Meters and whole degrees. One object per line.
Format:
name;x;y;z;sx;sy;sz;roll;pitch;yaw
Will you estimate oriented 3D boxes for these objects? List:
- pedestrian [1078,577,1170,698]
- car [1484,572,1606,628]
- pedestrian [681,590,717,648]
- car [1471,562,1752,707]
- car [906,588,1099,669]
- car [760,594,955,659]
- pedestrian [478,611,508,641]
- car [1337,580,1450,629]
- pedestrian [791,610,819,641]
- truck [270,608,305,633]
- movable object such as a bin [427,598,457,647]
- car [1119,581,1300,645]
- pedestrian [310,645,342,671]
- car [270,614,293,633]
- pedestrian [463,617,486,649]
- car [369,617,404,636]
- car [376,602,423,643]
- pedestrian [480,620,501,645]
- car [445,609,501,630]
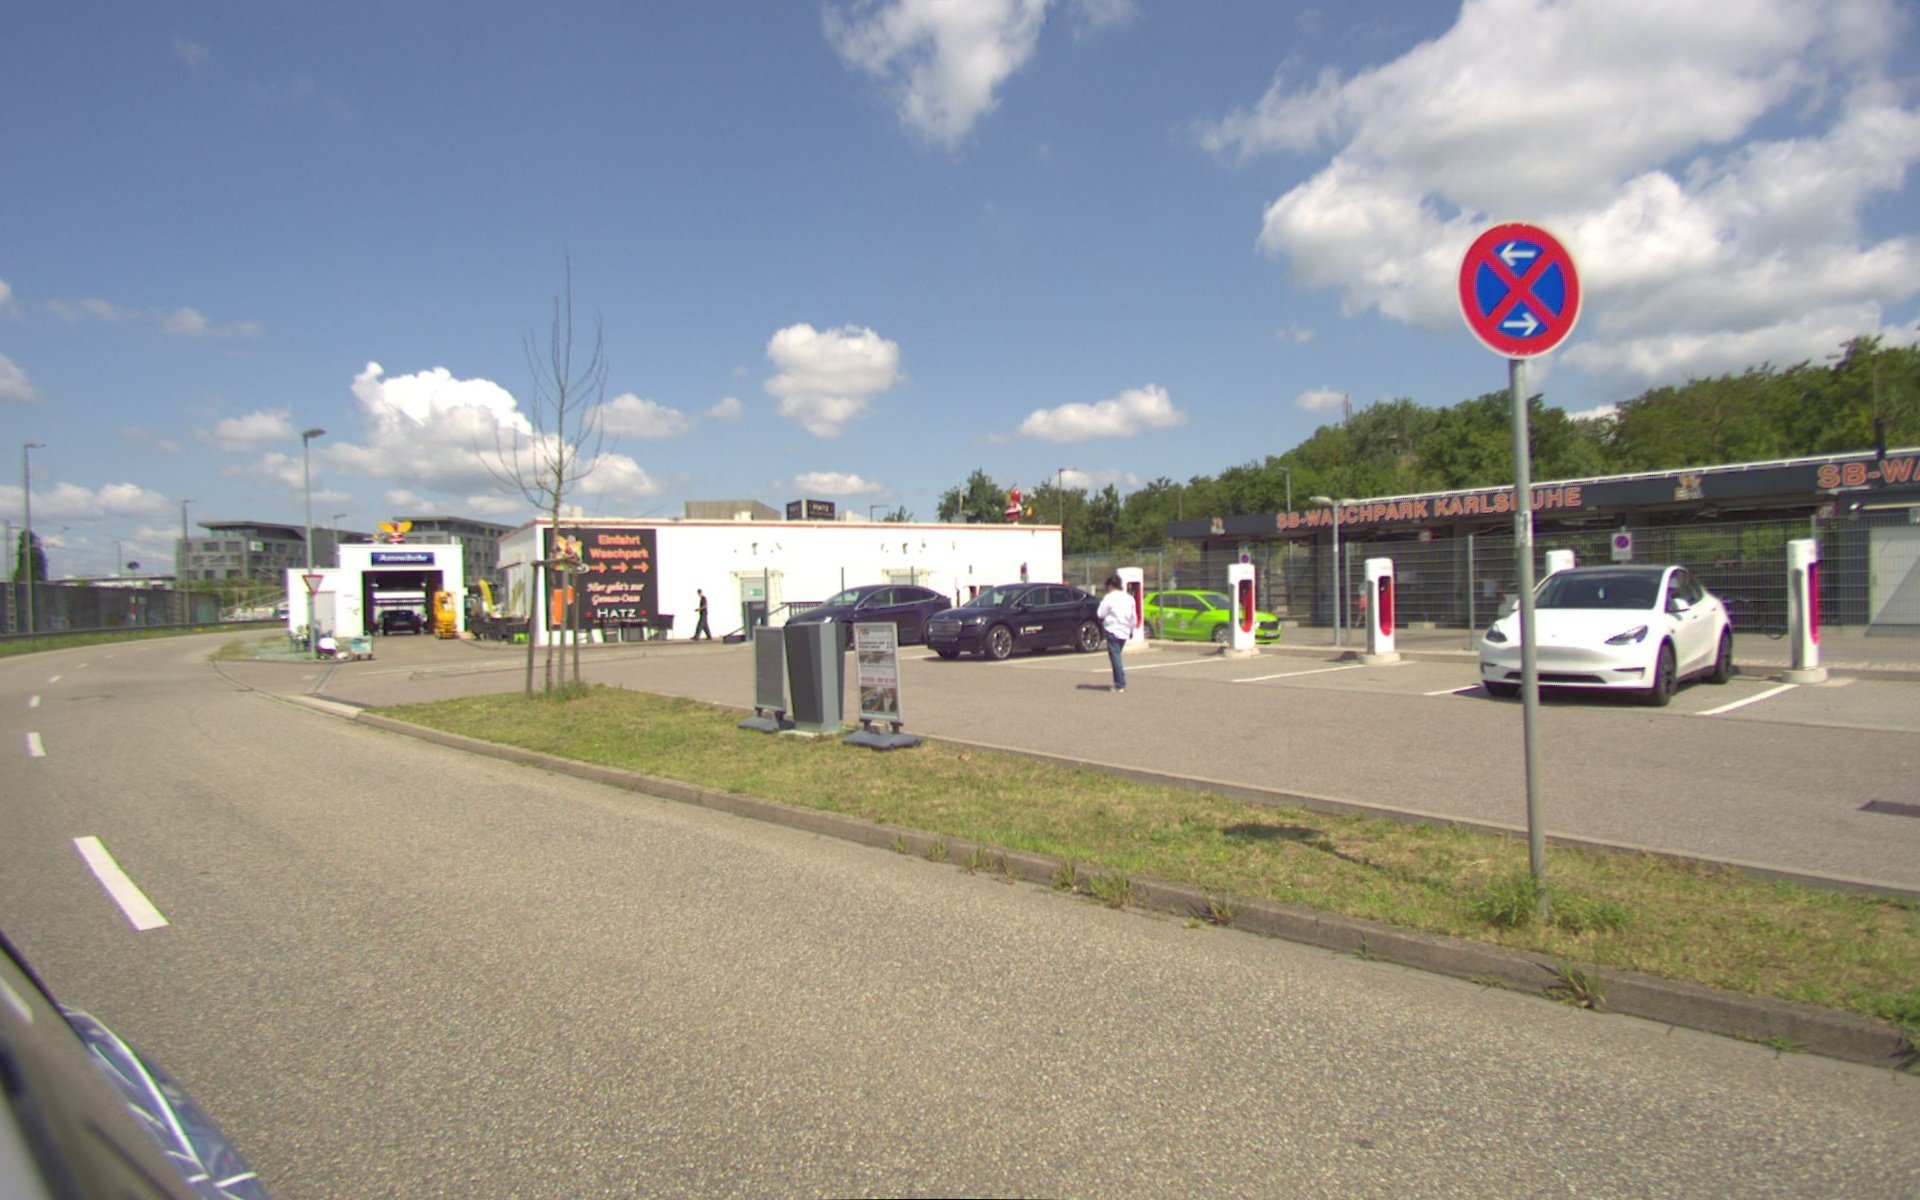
pedestrian;2.363;0.519;14.570;0.852;1.666;0.942;-2;0;-43
car;17.781;-0.006;30.692;3.938;1.574;2.003;-1;0;-41
pedestrian;-9.404;0.661;36.481;0.927;2.029;0.866;-1;2;-45
car;8.509;0.320;13.035;4.497;1.536;2.002;-2;1;-43
car;0.986;0.560;22.221;3.939;1.530;2.003;-2;1;-42
car;-2.634;0.649;26.731;4.689;1.466;2.240;-2;0;-43
pedestrian;-21.342;1.175;46.258;0.865;1.317;0.928;-2;0;42
car;14.839;0.130;34.582;3.938;1.574;2.003;-1;0;-41
pedestrian;-6.114;0.998;39.841;0.843;1.174;0.701;1;2;42
truck;-103.714;3.203;156.032;6.882;3.672;2.621;-1;2;40
movable object such as a bin;-24.216;0.996;47.283;1.048;2.168;2.712;-1;1;-31
car;6.363;0.319;26.216;1.891;1.493;4.308;-2;1;-38
pedestrian;-20.351;1.866;32.481;0.850;0.766;0.820;-2;-1;-33
car;-97.621;3.410;145.591;2.035;2.545;5.891;-3;1;-40
pedestrian;-20.206;1.355;42.122;0.742;1.266;0.902;-2;0;-29
car;-44.975;2.044;79.347;1.891;1.388;4.803;-2;1;-35
car;-30.711;1.204;55.390;1.966;2.125;5.025;-1;0;-32
pedestrian;-21.851;1.518;47.082;0.808;1.119;0.758;-1;0;-31
car;-45.688;1.841;94.913;4.363;1.846;1.995;-1;0;8
